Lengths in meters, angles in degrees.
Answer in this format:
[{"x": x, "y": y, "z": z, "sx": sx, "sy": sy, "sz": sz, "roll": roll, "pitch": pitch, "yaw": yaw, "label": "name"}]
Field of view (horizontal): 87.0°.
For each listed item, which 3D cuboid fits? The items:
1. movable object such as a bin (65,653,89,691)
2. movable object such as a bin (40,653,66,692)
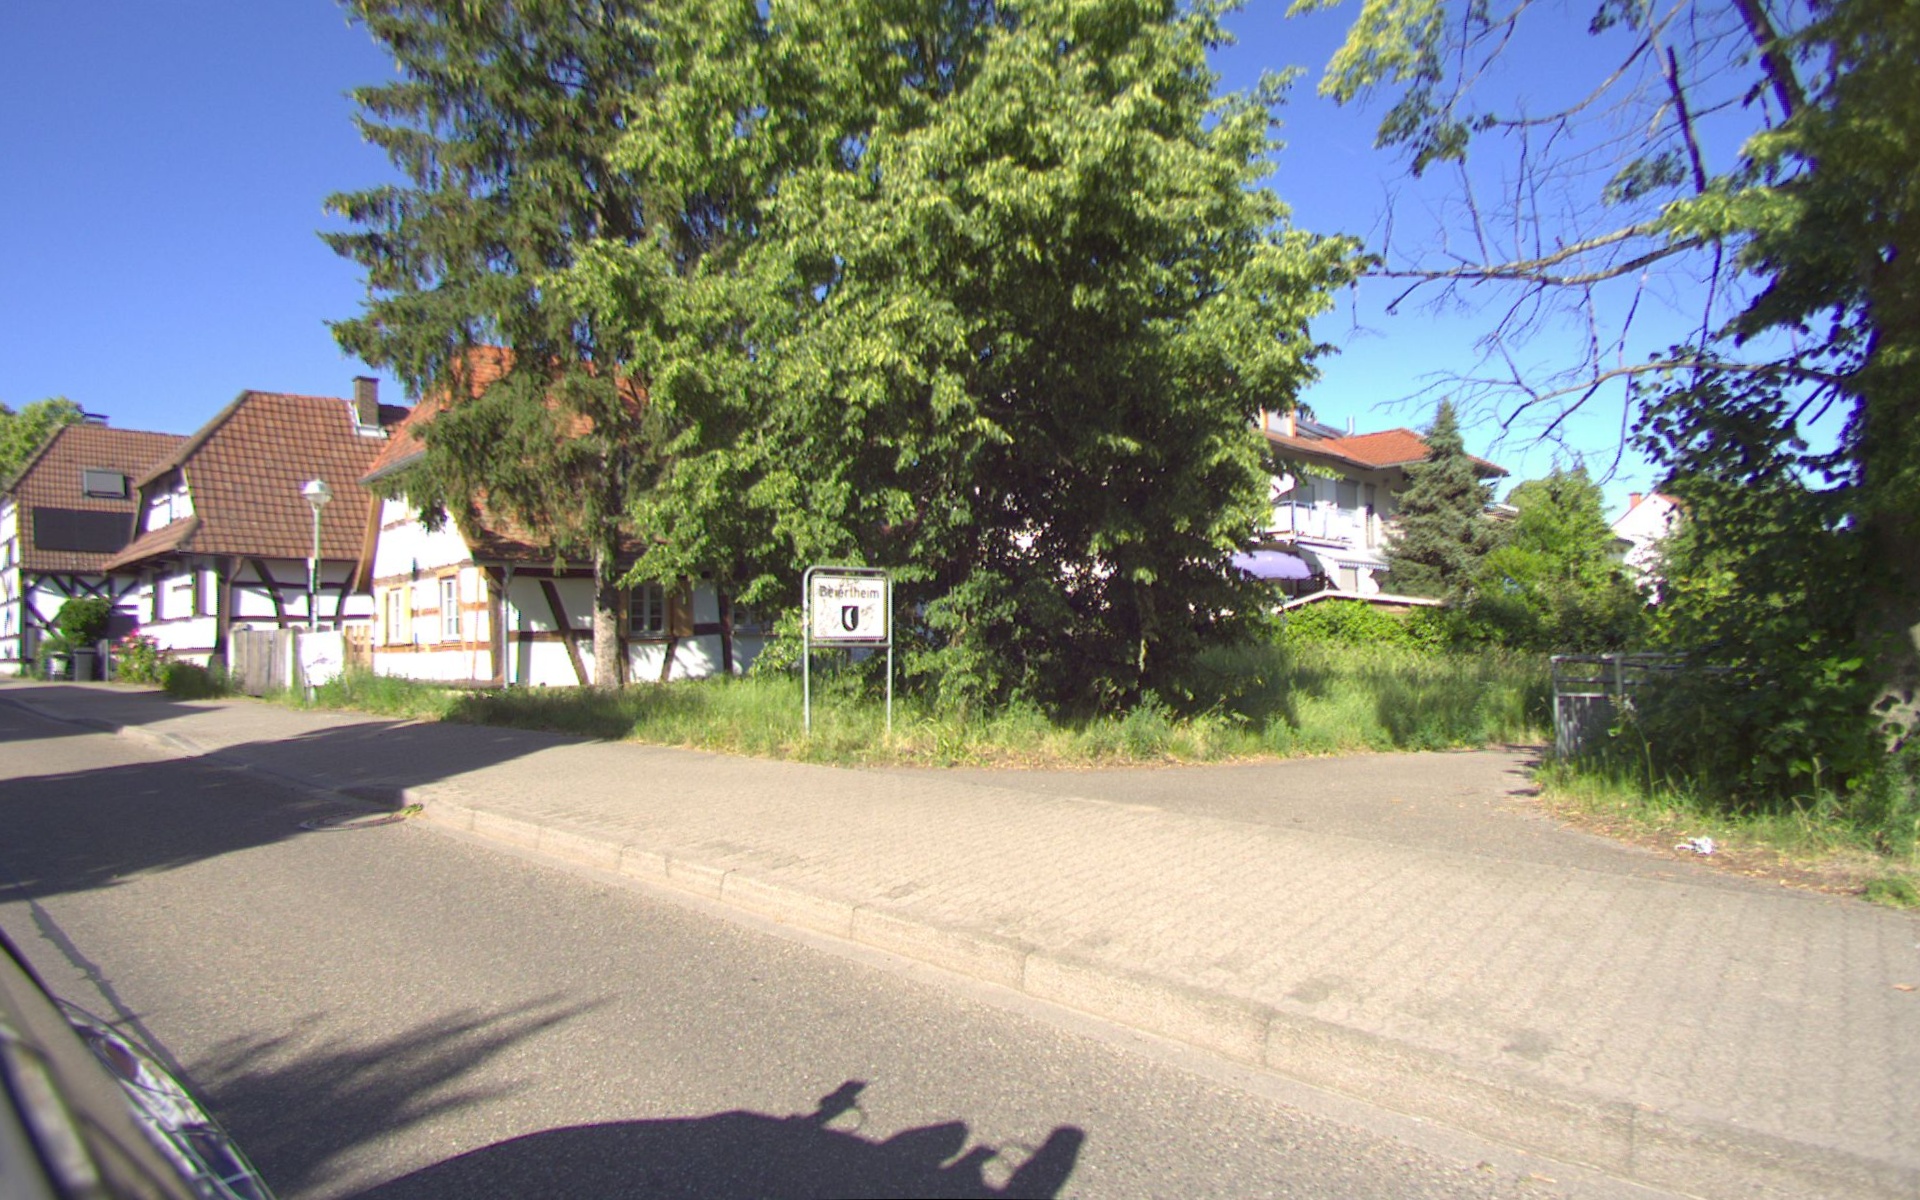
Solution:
[{"x": -27.710, "y": 2.250, "z": 31.762, "sx": 0.667, "sy": 1.149, "sz": 0.471, "roll": -2, "pitch": -3, "yaw": 40, "label": "movable object such as a bin"}, {"x": -28.071, "y": 2.236, "z": 31.319, "sx": 0.667, "sy": 1.149, "sz": 0.471, "roll": -2, "pitch": -3, "yaw": 40, "label": "movable object such as a bin"}]
